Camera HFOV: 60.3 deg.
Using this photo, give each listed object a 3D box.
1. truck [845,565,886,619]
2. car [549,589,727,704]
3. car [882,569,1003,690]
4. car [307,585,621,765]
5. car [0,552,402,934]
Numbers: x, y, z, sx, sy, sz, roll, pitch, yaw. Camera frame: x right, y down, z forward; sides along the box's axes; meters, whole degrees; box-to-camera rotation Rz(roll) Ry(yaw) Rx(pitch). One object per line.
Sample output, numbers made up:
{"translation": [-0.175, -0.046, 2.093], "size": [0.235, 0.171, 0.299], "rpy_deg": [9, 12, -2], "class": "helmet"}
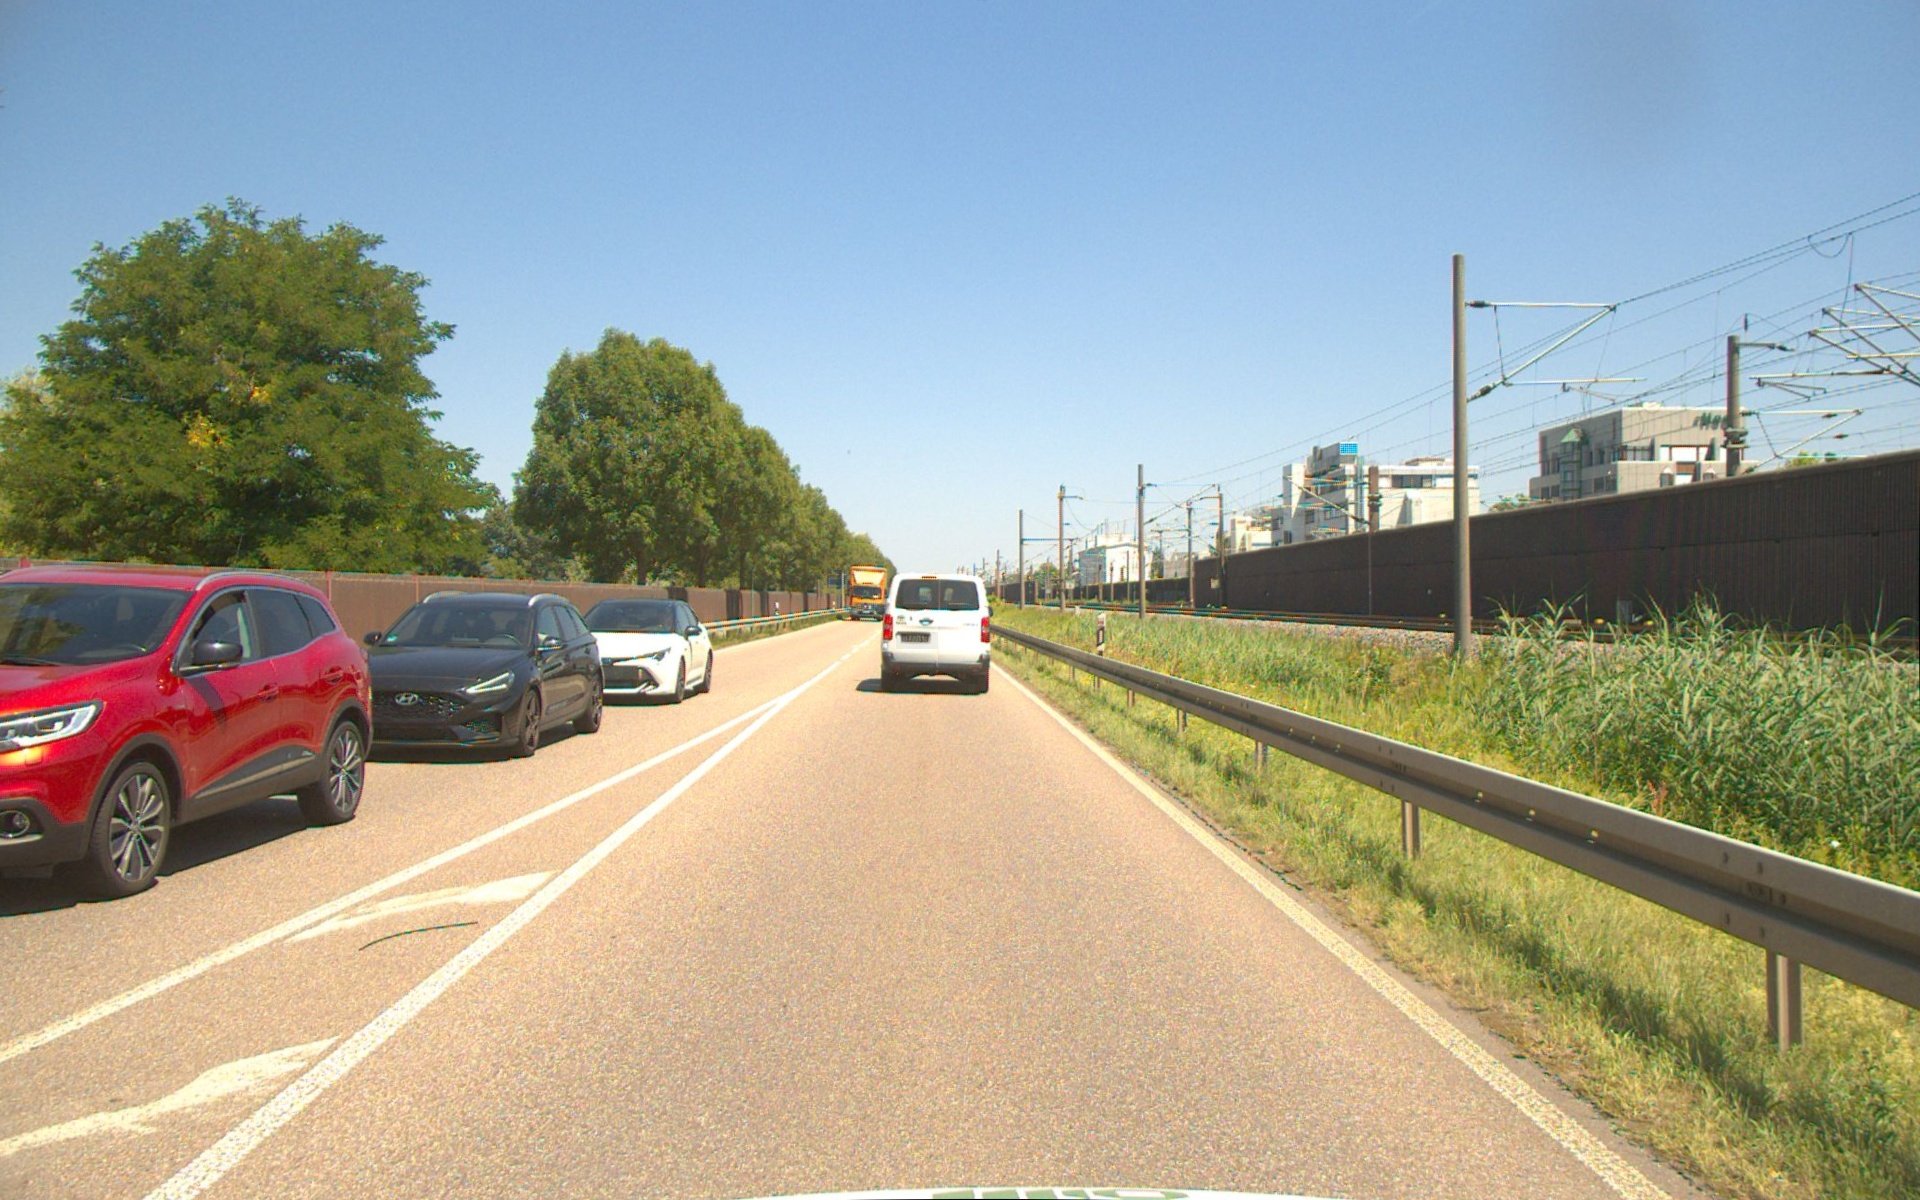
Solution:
{"translation": [-7.050, -0.574, 124.244], "size": [2.735, 3.907, 9.321], "rpy_deg": [1, 0, -1], "class": "truck"}
{"translation": [-4.594, 0.624, 24.238], "size": [1.651, 1.485, 4.616], "rpy_deg": [1, 0, 0], "class": "car"}
{"translation": [-0.344, 0.493, 28.934], "size": [1.906, 1.914, 4.879], "rpy_deg": [1, 0, -2], "class": "car"}
{"translation": [-4.701, 0.642, 16.404], "size": [1.651, 1.485, 4.616], "rpy_deg": [1, 0, 1], "class": "car"}
{"translation": [-4.812, 0.603, 9.364], "size": [1.719, 1.660, 4.280], "rpy_deg": [1, 0, 2], "class": "car"}
